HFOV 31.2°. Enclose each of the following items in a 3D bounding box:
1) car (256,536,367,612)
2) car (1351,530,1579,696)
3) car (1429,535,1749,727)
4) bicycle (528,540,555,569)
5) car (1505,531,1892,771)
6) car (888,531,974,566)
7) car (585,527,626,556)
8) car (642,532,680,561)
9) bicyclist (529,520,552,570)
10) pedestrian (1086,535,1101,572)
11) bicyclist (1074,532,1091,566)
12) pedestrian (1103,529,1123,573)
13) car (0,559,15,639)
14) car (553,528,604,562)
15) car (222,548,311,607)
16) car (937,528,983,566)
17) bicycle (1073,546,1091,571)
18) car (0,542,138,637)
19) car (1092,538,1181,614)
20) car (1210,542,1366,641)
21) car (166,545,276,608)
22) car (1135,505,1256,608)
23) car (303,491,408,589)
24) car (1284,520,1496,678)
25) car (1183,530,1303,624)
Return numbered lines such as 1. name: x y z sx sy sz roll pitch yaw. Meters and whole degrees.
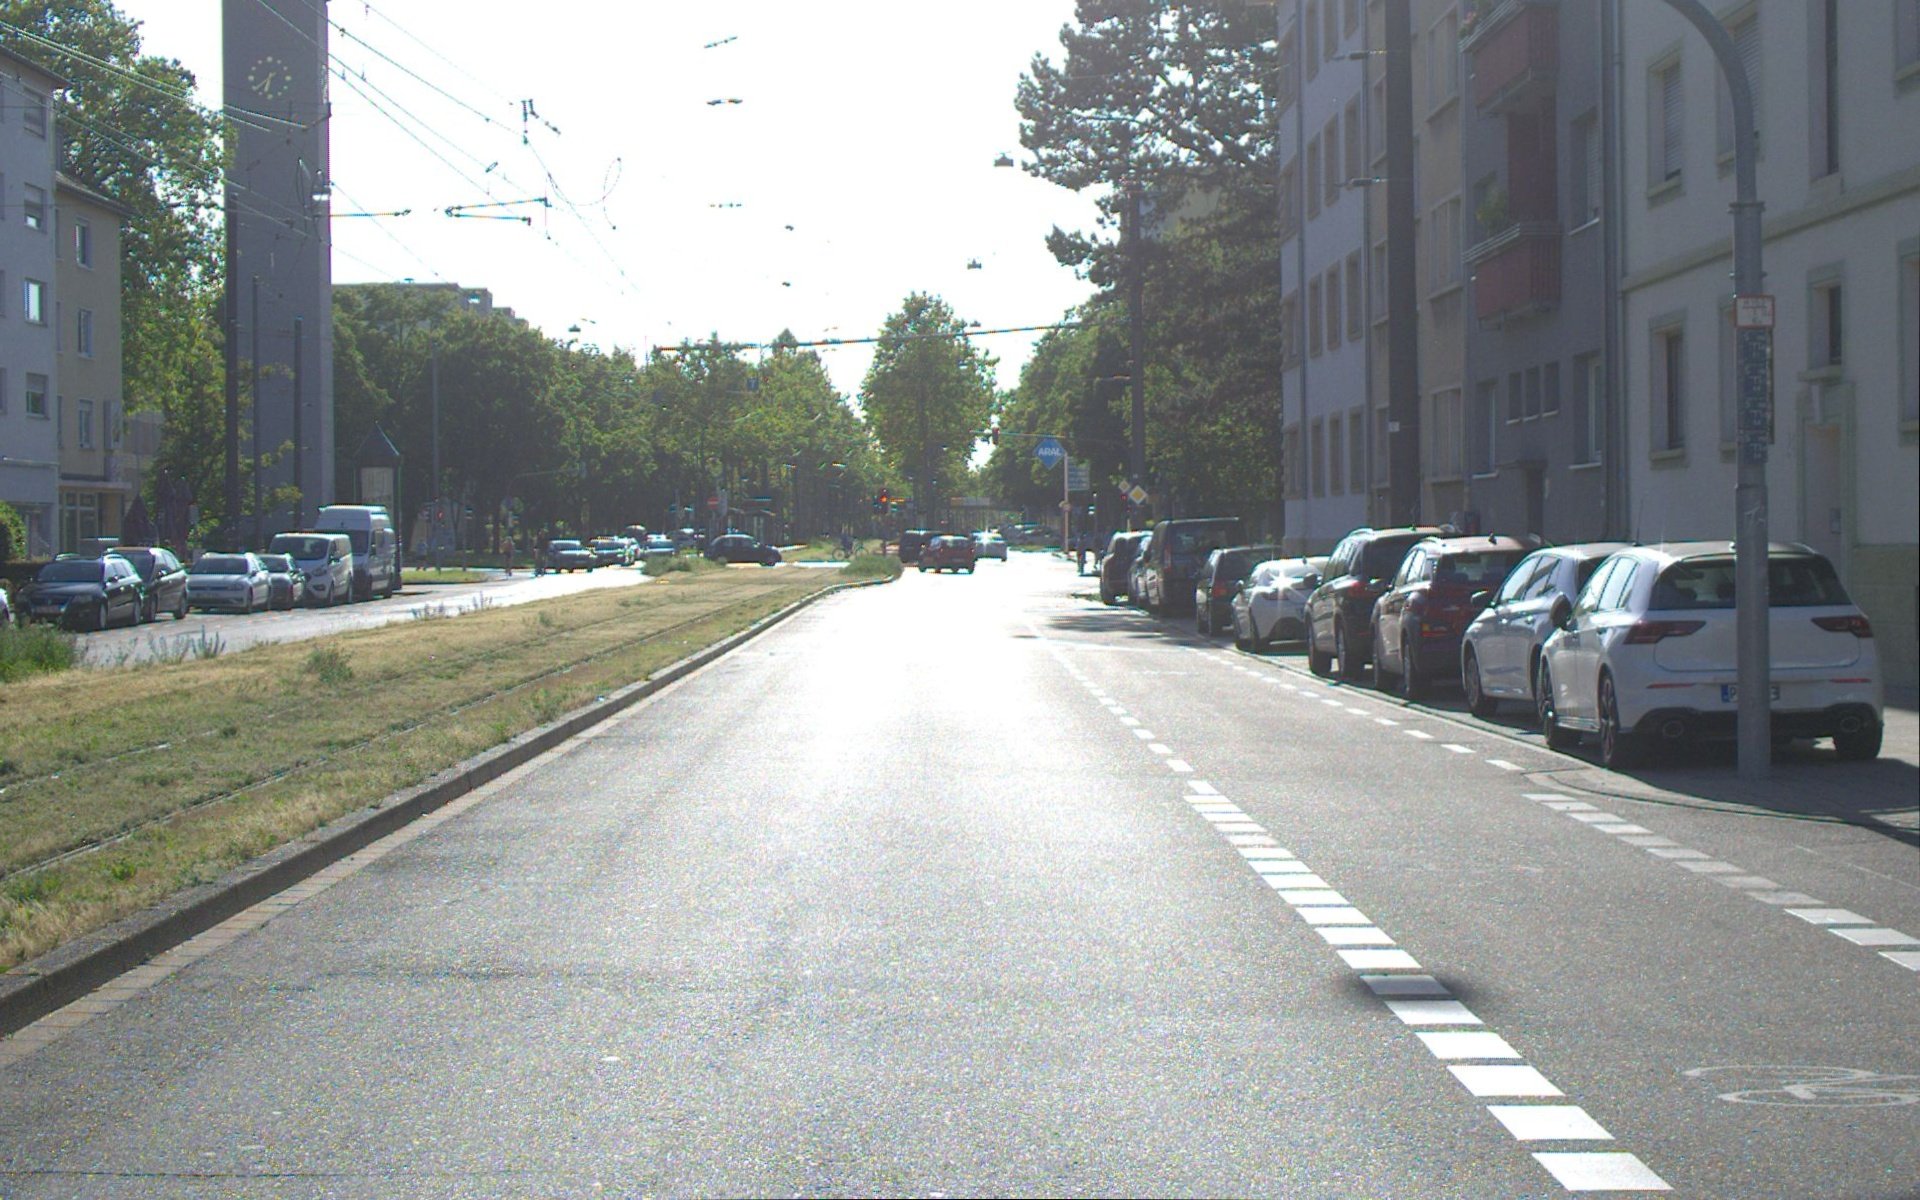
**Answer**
1. car: -18.388 -0.766 97.678 2.032 2.014 5.370 2 1 1
2. car: 4.980 0.079 34.388 1.635 1.512 4.189 -1 1 0
3. car: 5.188 0.199 28.856 1.635 1.453 4.082 -1 1 -4
4. bicycle: -17.295 -1.893 142.099 0.768 1.142 2.474 -2 1 0
5. car: 4.948 0.276 23.614 1.694 1.453 4.379 -1 1 0
6. car: -1.459 -2.609 174.239 1.898 1.605 4.490 3 1 38
7. car: -19.455 -3.208 188.983 1.806 1.528 4.361 -1 1 0
8. car: -16.439 -2.953 189.303 1.687 1.528 4.361 -1 1 0
9. bicyclist: -17.276 -2.257 141.552 0.773 2.007 0.648 2 1 0
10. pedestrian: 5.577 -1.949 143.435 0.529 1.523 0.627 -2 1 5
11. bicyclist: 4.900 -2.043 137.695 0.638 1.318 0.803 2 1 2
12. pedestrian: 6.372 -2.064 143.281 0.703 1.783 0.694 -3 2 5
13. car: -18.252 0.005 61.058 1.728 1.449 4.376 1 1 0
14. car: -17.071 -2.458 153.979 1.694 1.443 4.217 -2 1 1
15. car: -18.505 -0.612 91.840 1.694 1.509 4.327 1 1 -3
16. car: -0.030 -2.181 140.814 1.694 1.503 3.699 1 1 -2
17. bicycle: 4.885 -1.684 137.714 0.648 0.969 1.803 2 1 3
18. car: -18.660 -0.247 71.488 1.993 1.831 4.609 2 1 0
19. car: 4.316 -0.623 84.652 1.879 1.711 4.934 -3 1 1
20. car: 4.748 -0.157 50.276 1.702 1.271 4.304 -4 1 -1
21. car: -18.506 -0.615 86.310 1.892 1.486 4.704 1 1 -2
22. car: 4.719 -0.892 69.547 1.913 1.893 5.136 -4 1 -1
23. car: -18.439 -1.838 105.115 2.032 2.859 6.228 1 1 1
24. car: 4.884 -0.050 39.572 1.635 1.642 4.374 -3 1 -2
25. car: 4.757 -0.412 58.169 1.635 1.449 3.789 -3 1 0
